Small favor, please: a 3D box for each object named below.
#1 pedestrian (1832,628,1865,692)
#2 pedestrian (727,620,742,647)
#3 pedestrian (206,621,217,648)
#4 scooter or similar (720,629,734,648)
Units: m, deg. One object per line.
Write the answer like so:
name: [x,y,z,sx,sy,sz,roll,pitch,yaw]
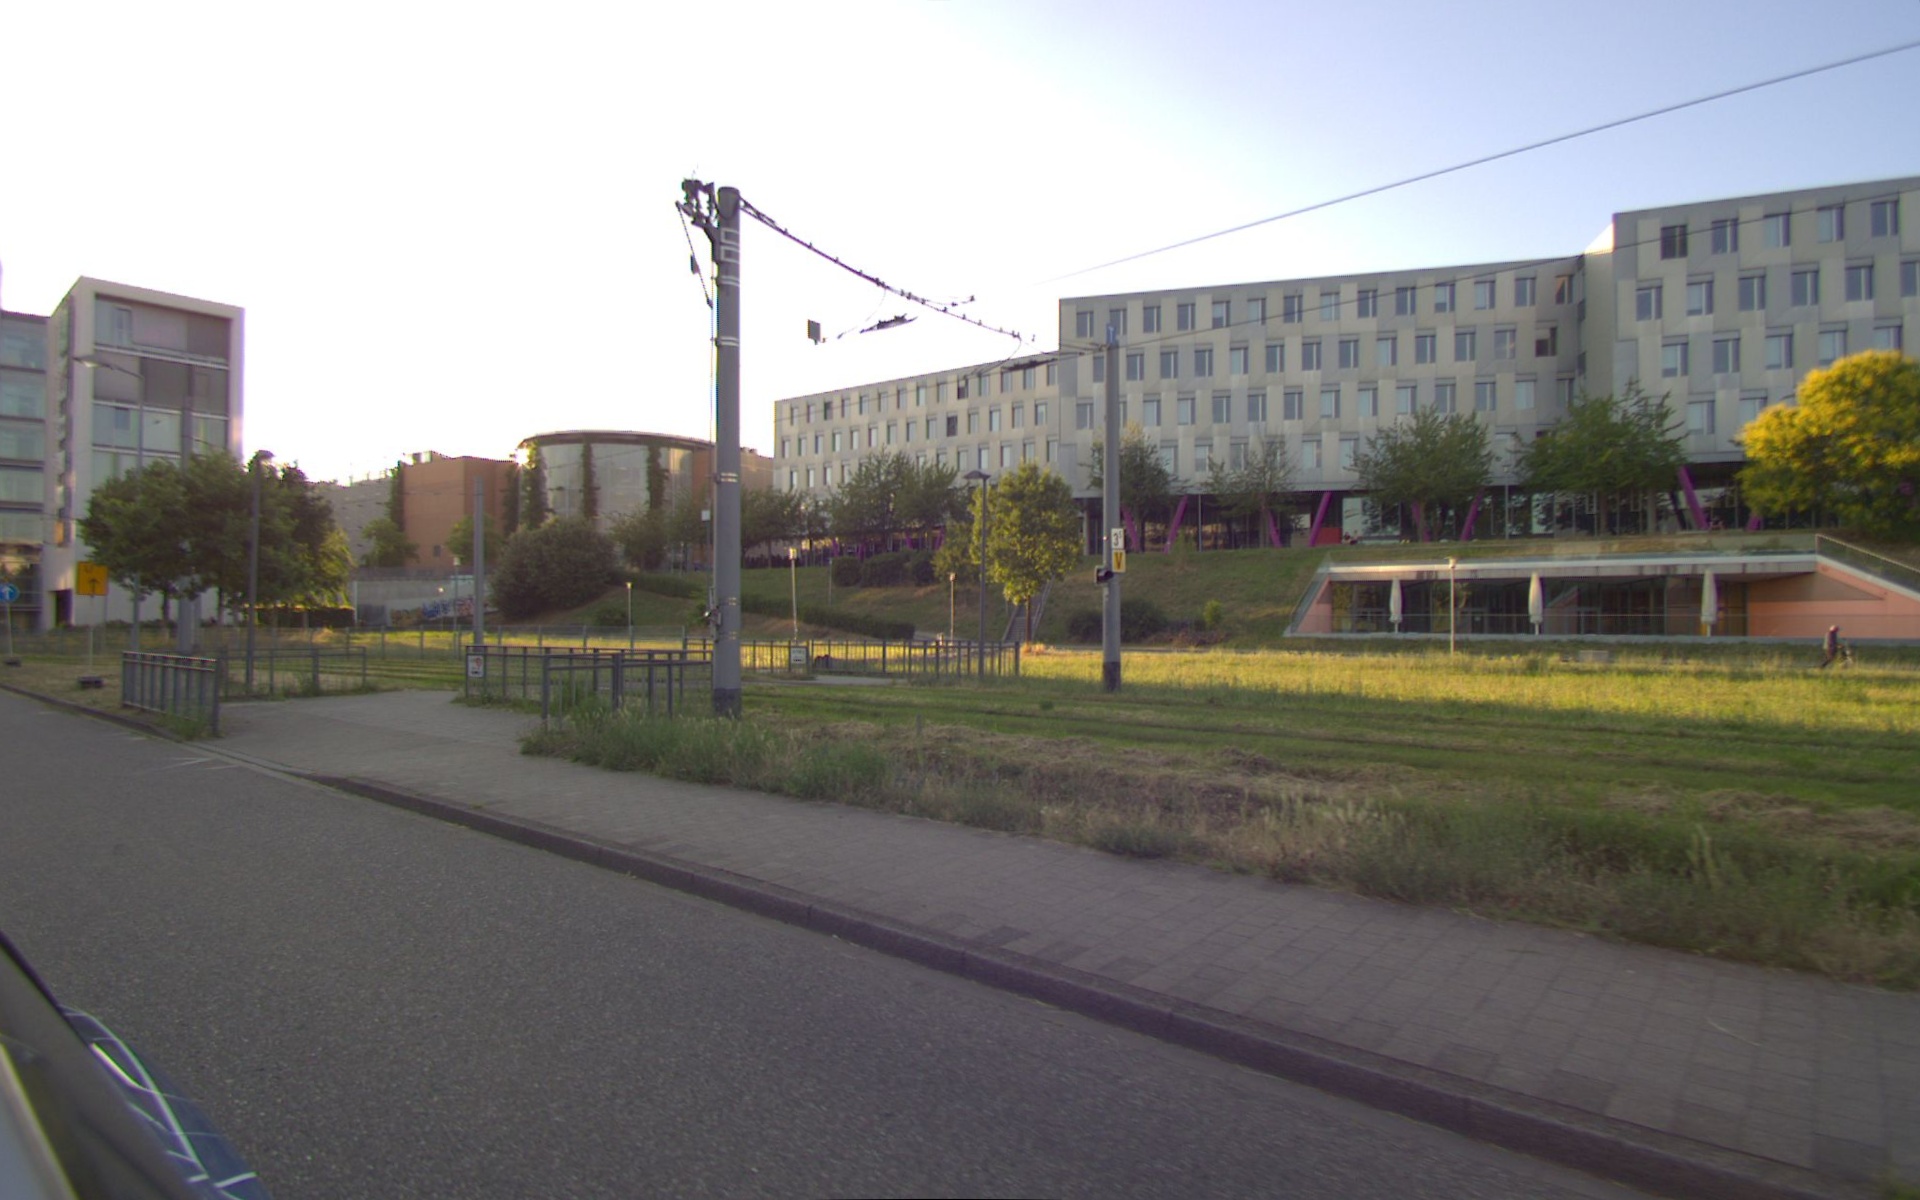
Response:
pedestrian: [29.815,1.992,33.971,0.790,2.098,0.610,-1,0,40]
pedestrian: [-15.379,2.284,69.050,0.790,1.850,0.610,-1,0,40]
pedestrian: [-52.338,2.422,70.763,0.480,1.850,0.446,-1,0,20]
scooter or similar: [-16.042,2.652,69.689,0.790,1.253,0.610,-1,0,40]
